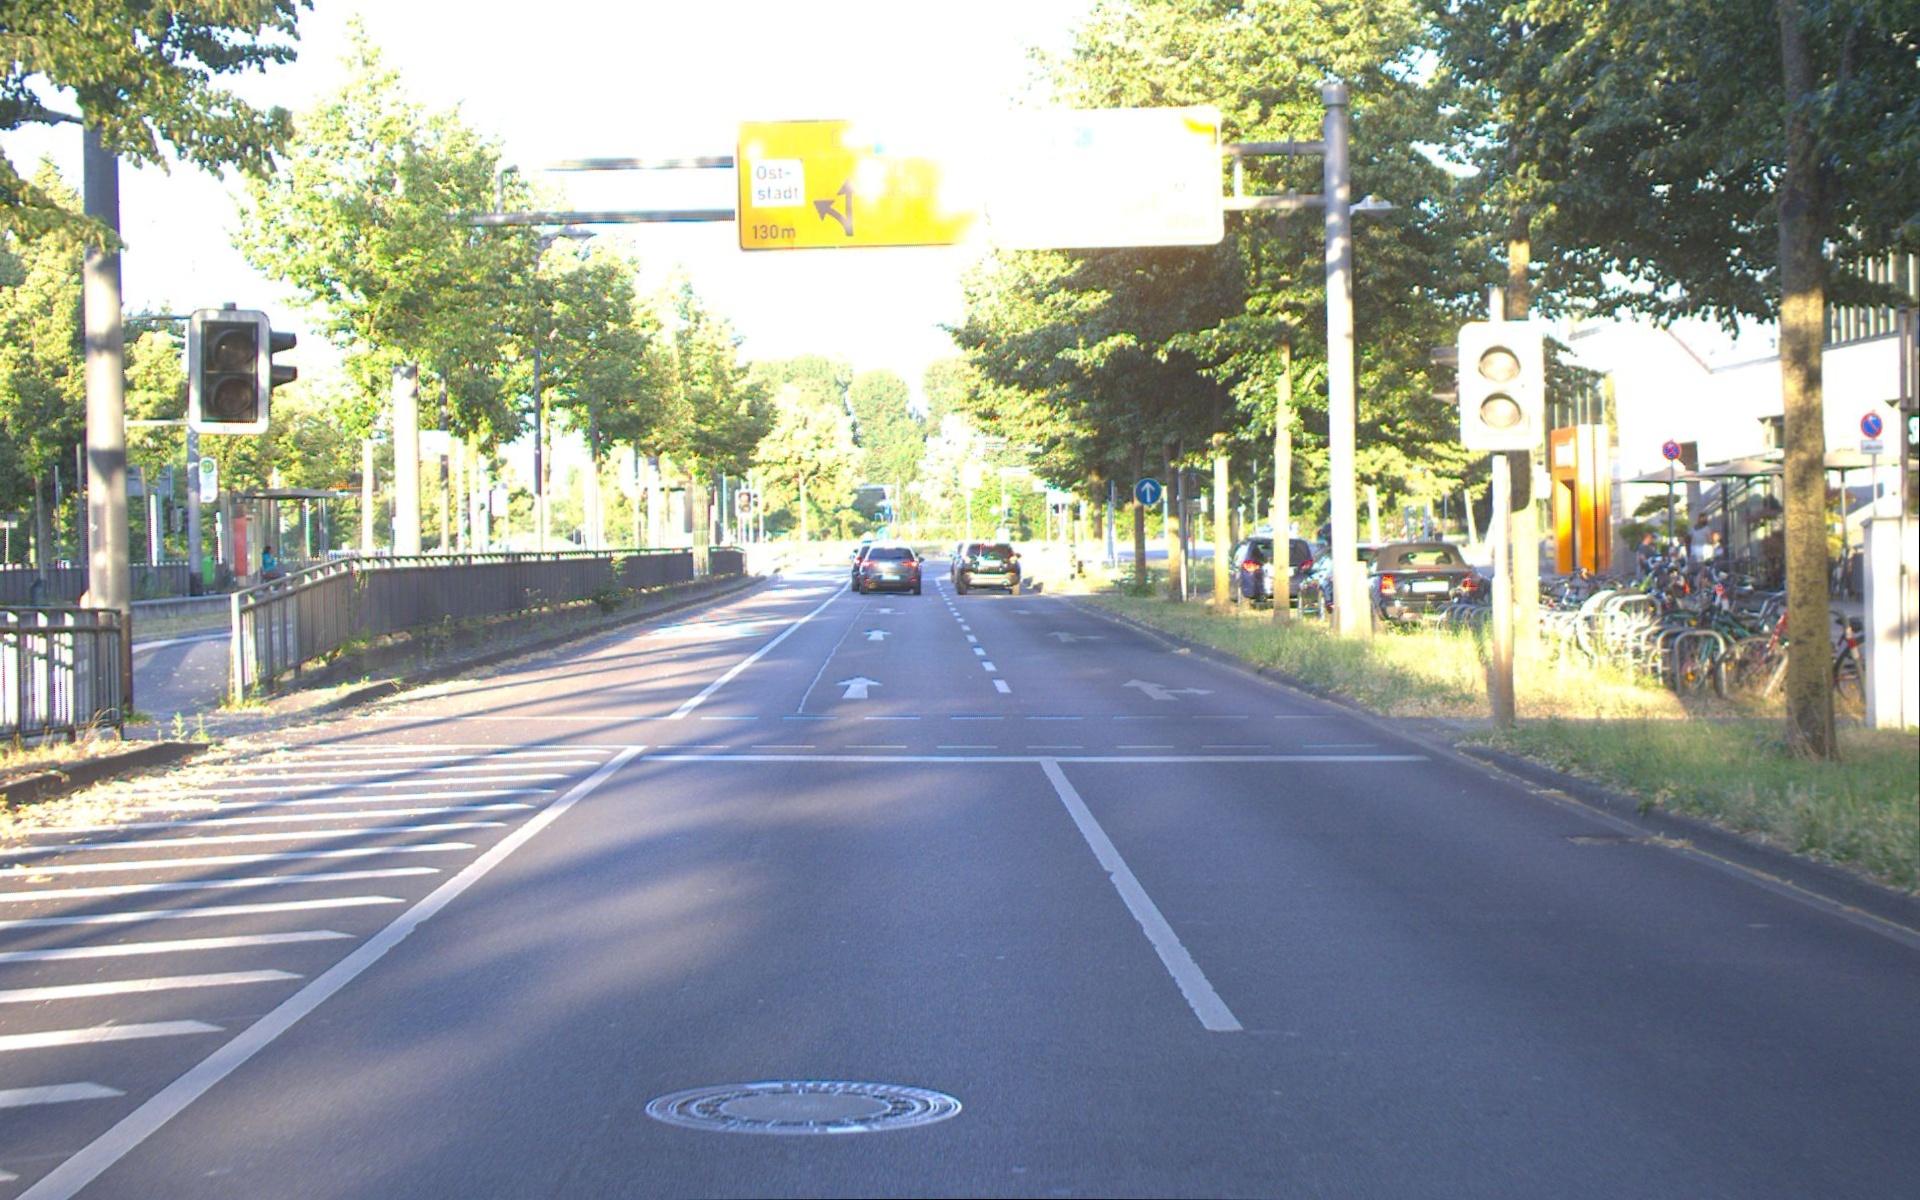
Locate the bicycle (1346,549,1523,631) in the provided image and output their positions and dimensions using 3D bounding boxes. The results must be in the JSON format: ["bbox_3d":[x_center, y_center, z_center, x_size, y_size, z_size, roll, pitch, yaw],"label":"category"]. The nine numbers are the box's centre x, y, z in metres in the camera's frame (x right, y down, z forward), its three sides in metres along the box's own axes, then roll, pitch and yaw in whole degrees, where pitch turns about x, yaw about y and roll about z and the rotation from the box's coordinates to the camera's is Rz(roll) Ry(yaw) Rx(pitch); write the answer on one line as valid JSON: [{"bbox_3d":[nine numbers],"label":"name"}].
[{"bbox_3d":[6.023,-0.126,43.642,2.142,0.936,0.452,3,1,-7],"label":"bicycle"}]

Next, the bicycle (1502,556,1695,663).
[{"bbox_3d":[6.800,0.099,36.632,1.941,1.050,0.414,3,1,-8],"label":"bicycle"}]

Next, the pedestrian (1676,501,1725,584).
[{"bbox_3d":[15.463,-1.198,71.760,0.703,1.731,0.689,-1,1,-31],"label":"pedestrian"}]

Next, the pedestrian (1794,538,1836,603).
[{"bbox_3d":[15.851,-0.555,63.728,0.571,1.191,0.806,-1,1,1],"label":"pedestrian"}]

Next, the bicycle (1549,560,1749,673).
[{"bbox_3d":[6.943,0.165,34.646,1.941,1.050,0.314,3,1,-8],"label":"bicycle"}]

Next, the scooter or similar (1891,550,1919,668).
[{"bbox_3d":[10.979,0.097,38.549,0.525,1.306,1.664,-1,1,-3],"label":"scooter or similar"}]

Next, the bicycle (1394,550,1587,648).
[{"bbox_3d":[6.270,-0.015,40.627,2.142,1.050,0.525,3,1,-7],"label":"bicycle"}]

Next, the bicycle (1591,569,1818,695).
[{"bbox_3d":[6.775,0.293,31.286,1.941,1.050,0.545,2,1,-15],"label":"bicycle"}]

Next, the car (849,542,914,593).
[{"bbox_3d":[-2.390,-1.009,104.682,1.911,1.481,4.000,-1,1,-2],"label":"car"}]

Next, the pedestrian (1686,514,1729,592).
[{"bbox_3d":[16.573,-1.047,76.186,0.634,1.712,0.699,-1,1,-20],"label":"pedestrian"}]

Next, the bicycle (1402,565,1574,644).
[{"bbox_3d":[7.001,0.054,45.619,2.142,0.936,0.545,3,1,-7],"label":"bicycle"}]

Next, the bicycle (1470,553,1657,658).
[{"bbox_3d":[6.621,0.060,37.715,1.941,1.050,0.404,3,1,-7],"label":"bicycle"}]

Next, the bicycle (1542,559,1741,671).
[{"bbox_3d":[6.938,0.152,35.007,1.941,1.050,0.348,3,1,-8],"label":"bicycle"}]

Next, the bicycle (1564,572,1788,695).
[{"bbox_3d":[6.638,0.311,31.873,1.941,1.050,0.545,2,1,-15],"label":"bicycle"}]

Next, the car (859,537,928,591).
[{"bbox_3d":[-1.922,-1.034,98.233,1.911,1.481,4.000,-1,1,-2],"label":"car"}]

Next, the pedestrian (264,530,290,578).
[{"bbox_3d":[-19.096,-1.288,96.136,0.614,1.315,0.745,-1,1,-4],"label":"pedestrian"}]

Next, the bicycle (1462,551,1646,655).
[{"bbox_3d":[6.594,0.032,38.178,1.941,1.050,0.404,3,1,-7],"label":"bicycle"}]

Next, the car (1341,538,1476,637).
[{"bbox_3d":[6.982,-0.217,53.766,1.575,1.467,3.881,-1,1,0],"label":"car"}]

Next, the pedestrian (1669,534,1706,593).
[{"bbox_3d":[15.938,-0.809,75.324,0.579,1.278,0.739,-1,1,-5],"label":"pedestrian"}]

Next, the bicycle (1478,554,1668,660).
[{"bbox_3d":[6.635,0.072,37.236,1.941,1.050,0.404,3,1,-4],"label":"bicycle"}]

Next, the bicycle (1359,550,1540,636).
[{"bbox_3d":[6.066,-0.087,42.621,2.142,0.970,0.443,3,1,-7],"label":"bicycle"}]

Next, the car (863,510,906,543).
[{"bbox_3d":[-3.439,-3.323,155.943,1.911,1.481,4.000,-1,1,-2],"label":"car"}]

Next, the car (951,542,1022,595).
[{"bbox_3d":[0.750,-0.933,99.162,1.911,1.481,4.000,-1,1,-2],"label":"car"}]

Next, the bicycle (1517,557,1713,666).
[{"bbox_3d":[6.857,0.118,36.017,1.941,1.050,0.414,3,1,-8],"label":"bicycle"}]

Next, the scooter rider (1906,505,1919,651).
[{"bbox_3d":[10.979,-0.251,38.428,0.525,1.633,0.832,-1,1,-3],"label":"scooter rider"}]

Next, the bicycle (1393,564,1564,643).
[{"bbox_3d":[6.800,0.043,45.092,2.142,0.936,0.443,3,1,-7],"label":"bicycle"}]

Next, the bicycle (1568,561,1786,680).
[{"bbox_3d":[6.929,0.198,33.252,1.941,1.050,0.545,3,1,-8],"label":"bicycle"}]

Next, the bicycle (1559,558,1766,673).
[{"bbox_3d":[6.994,0.156,34.236,1.941,1.050,0.409,3,1,-8],"label":"bicycle"}]

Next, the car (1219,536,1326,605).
[{"bbox_3d":[6.863,-0.667,75.844,1.756,1.461,4.159,-1,1,-3],"label":"car"}]

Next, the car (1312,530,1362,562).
[{"bbox_3d":[20.801,-2.990,189.775,1.995,1.722,3.997,-1,1,17],"label":"car"}]

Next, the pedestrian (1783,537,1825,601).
[{"bbox_3d":[15.867,-0.584,64.671,0.571,1.191,0.806,-1,1,0],"label":"pedestrian"}]

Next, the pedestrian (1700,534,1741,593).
[{"bbox_3d":[16.668,-0.801,75.357,0.579,1.278,0.739,-1,1,-19],"label":"pedestrian"}]

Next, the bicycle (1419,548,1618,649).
[{"bbox_3d":[6.397,-0.021,39.405,2.142,1.050,0.562,3,1,-7],"label":"bicycle"}]

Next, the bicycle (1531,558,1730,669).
[{"bbox_3d":[6.919,0.137,35.479,1.941,1.050,0.414,3,1,-8],"label":"bicycle"}]

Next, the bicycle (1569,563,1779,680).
[{"bbox_3d":[7.015,0.208,33.783,1.941,1.050,0.409,3,1,-8],"label":"bicycle"}]

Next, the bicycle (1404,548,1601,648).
[{"bbox_3d":[6.315,-0.027,40.033,2.142,1.050,0.571,3,1,-7],"label":"bicycle"}]

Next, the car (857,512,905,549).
[{"bbox_3d":[-3.211,-2.813,139.141,1.911,1.481,4.000,-1,1,-2],"label":"car"}]

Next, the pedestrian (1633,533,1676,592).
[{"bbox_3d":[15.277,-0.827,75.672,0.625,1.278,0.717,-1,1,-22],"label":"pedestrian"}]

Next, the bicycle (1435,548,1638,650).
[{"bbox_3d":[6.487,-0.012,38.714,2.142,1.050,0.571,3,1,-7],"label":"bicycle"}]

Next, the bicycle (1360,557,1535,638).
[{"bbox_3d":[6.258,-0.031,44.169,2.142,0.936,0.443,3,1,-7],"label":"bicycle"}]

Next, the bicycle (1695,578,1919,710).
[{"bbox_3d":[7.457,0.380,29.959,1.941,1.050,0.545,3,1,-1],"label":"bicycle"}]

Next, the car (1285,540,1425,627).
[{"bbox_3d":[6.945,-0.322,60.757,1.777,1.467,4.289,-1,1,-3],"label":"car"}]

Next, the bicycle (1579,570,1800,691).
[{"bbox_3d":[6.917,0.292,32.605,1.941,1.050,0.545,2,1,-11],"label":"bicycle"}]

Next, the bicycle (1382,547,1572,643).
[{"bbox_3d":[6.195,-0.062,41.211,2.142,1.050,0.525,3,1,-7],"label":"bicycle"}]

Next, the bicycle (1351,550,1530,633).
[{"bbox_3d":[6.026,-0.106,43.135,2.142,0.936,0.443,3,1,-7],"label":"bicycle"}]
